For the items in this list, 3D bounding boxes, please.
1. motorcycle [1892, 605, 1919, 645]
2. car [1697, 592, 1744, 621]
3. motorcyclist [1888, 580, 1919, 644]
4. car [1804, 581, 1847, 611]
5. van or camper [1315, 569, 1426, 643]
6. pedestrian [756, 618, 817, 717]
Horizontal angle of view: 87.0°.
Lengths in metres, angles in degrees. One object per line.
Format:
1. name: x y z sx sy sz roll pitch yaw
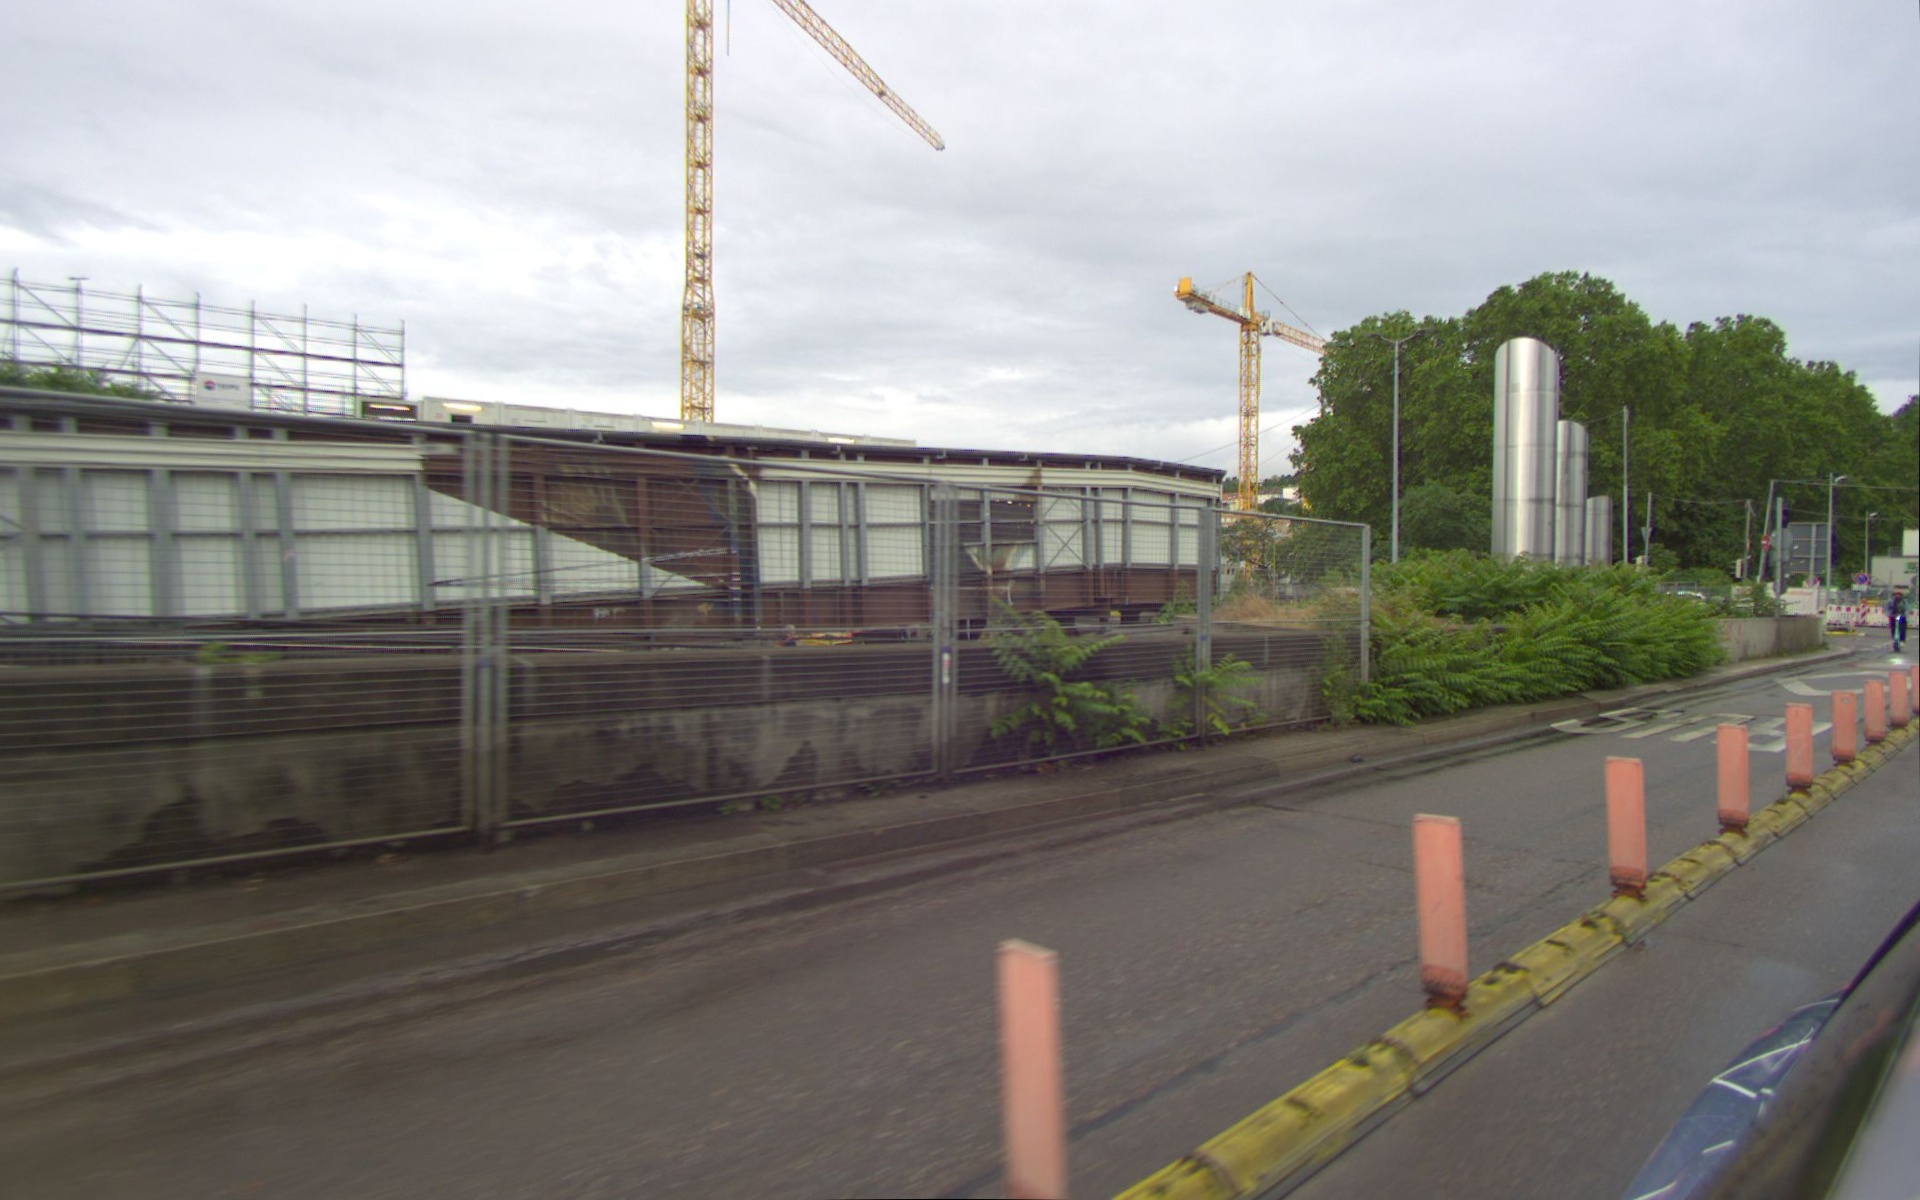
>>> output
1. motorcycle: 31.032 0.821 32.999 2.123 1.244 0.729 2 1 -42
2. car: 46.409 0.388 61.747 1.992 1.657 4.128 3 1 41
3. motorcyclist: 30.931 0.395 33.122 0.577 2.062 0.725 2 1 -41
4. car: 64.540 -0.298 75.442 4.120 2.092 1.995 1 1 -44
5. van or camper: 15.251 0.164 37.989 2.346 2.432 6.050 2 1 8
6. pedestrian: -3.430 1.310 20.033 0.997 1.855 0.672 0 0 -41
